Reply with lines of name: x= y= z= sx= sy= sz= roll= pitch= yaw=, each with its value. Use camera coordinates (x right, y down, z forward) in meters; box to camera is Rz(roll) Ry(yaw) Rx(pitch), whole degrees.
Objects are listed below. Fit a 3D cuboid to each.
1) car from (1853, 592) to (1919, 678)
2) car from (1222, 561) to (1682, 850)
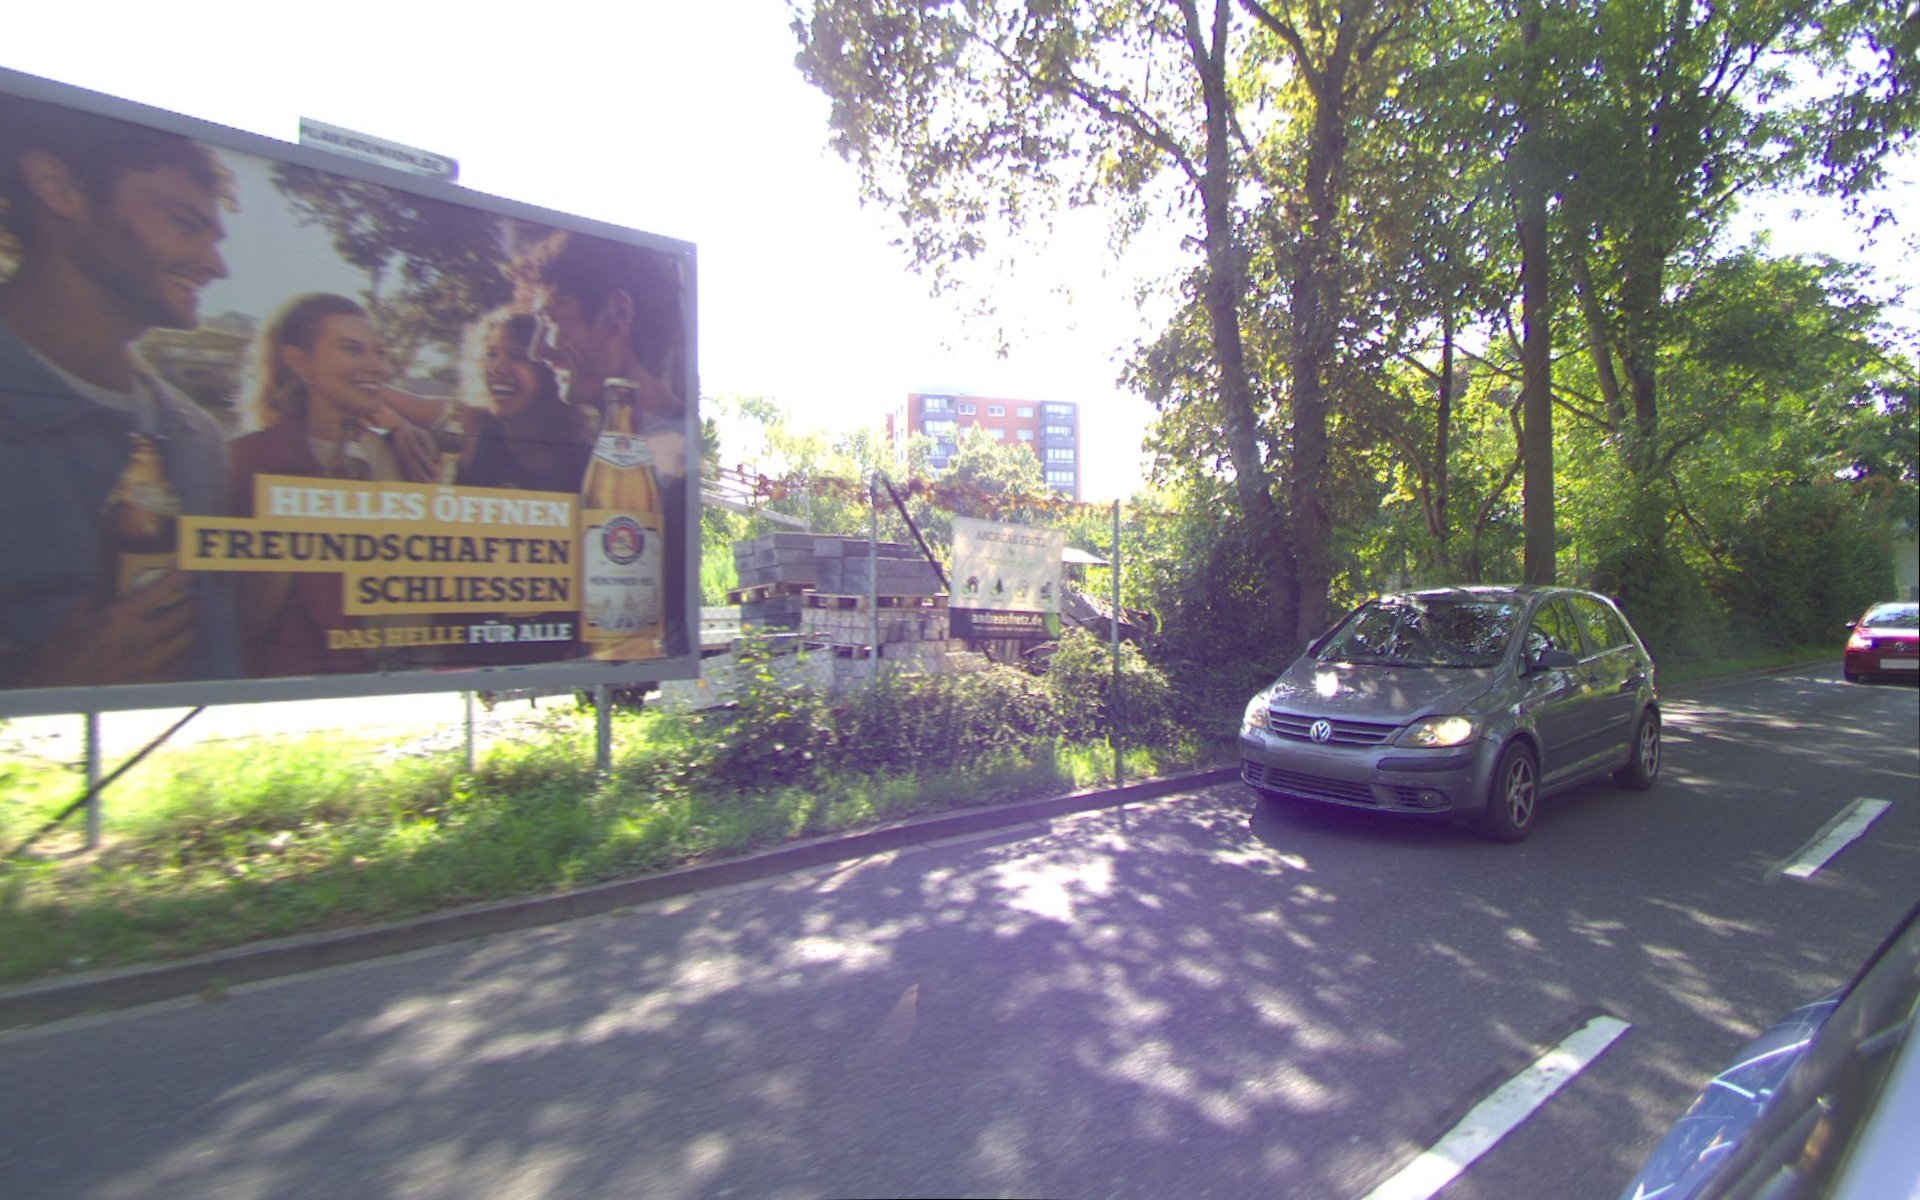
car: x=17.746 y=0.589 z=18.431 sx=3.408 sy=1.416 sz=1.579 roll=-1 pitch=1 yaw=-37
car: x=3.739 y=0.543 z=7.397 sx=3.831 sy=1.576 sz=1.648 roll=-1 pitch=1 yaw=-41
